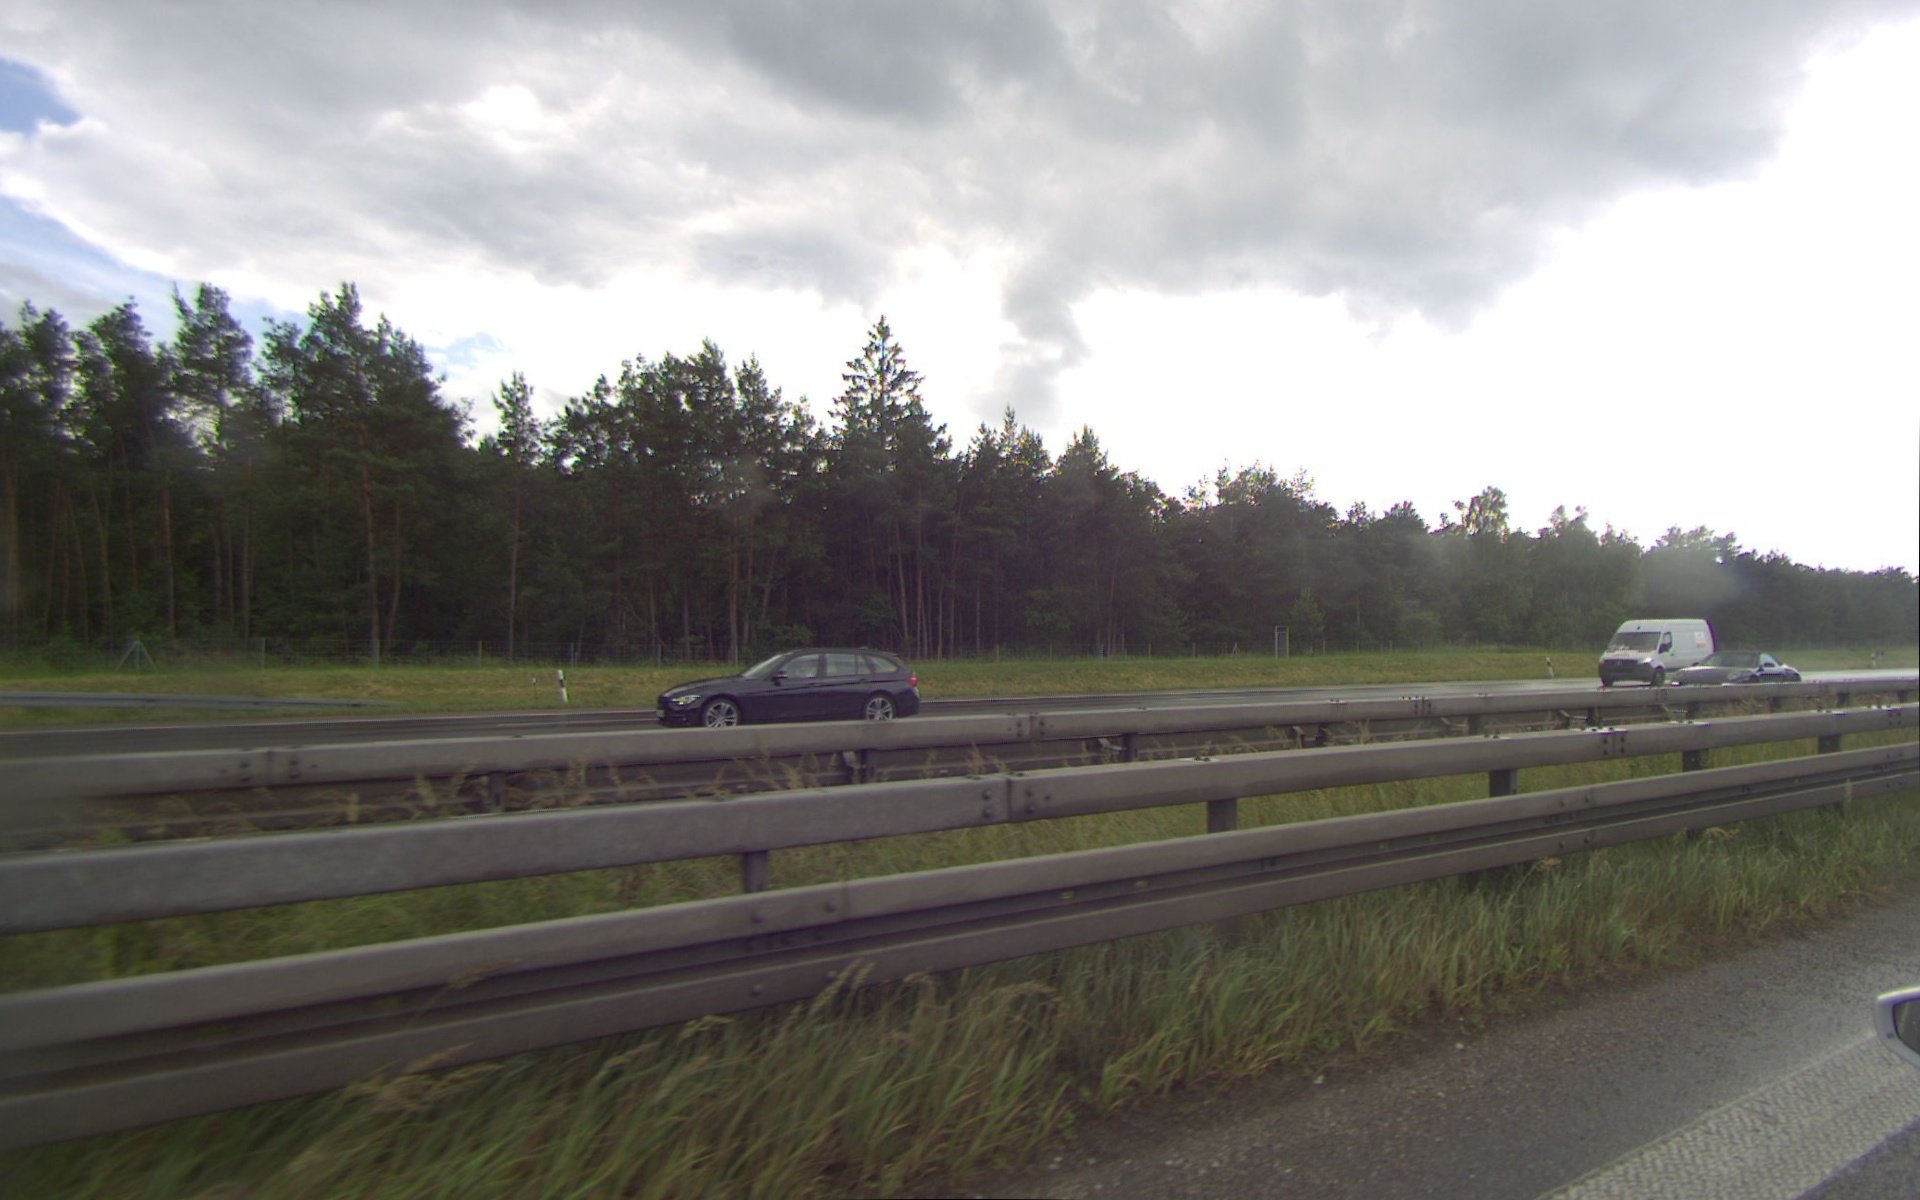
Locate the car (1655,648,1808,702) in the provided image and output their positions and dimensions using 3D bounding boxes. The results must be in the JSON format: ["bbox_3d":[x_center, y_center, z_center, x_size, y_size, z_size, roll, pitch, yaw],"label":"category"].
[{"bbox_3d":[20.978,1.978,27.266,4.613,1.342,1.690,1,-3,-31],"label":"car"}]

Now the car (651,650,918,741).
[{"bbox_3d":[-2.970,1.578,17.237,4.208,1.376,1.690,1,-5,-31],"label":"car"}]

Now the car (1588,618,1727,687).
[{"bbox_3d":[28.082,2.059,40.360,6.507,2.544,2.088,1,-1,-31],"label":"car"}]
